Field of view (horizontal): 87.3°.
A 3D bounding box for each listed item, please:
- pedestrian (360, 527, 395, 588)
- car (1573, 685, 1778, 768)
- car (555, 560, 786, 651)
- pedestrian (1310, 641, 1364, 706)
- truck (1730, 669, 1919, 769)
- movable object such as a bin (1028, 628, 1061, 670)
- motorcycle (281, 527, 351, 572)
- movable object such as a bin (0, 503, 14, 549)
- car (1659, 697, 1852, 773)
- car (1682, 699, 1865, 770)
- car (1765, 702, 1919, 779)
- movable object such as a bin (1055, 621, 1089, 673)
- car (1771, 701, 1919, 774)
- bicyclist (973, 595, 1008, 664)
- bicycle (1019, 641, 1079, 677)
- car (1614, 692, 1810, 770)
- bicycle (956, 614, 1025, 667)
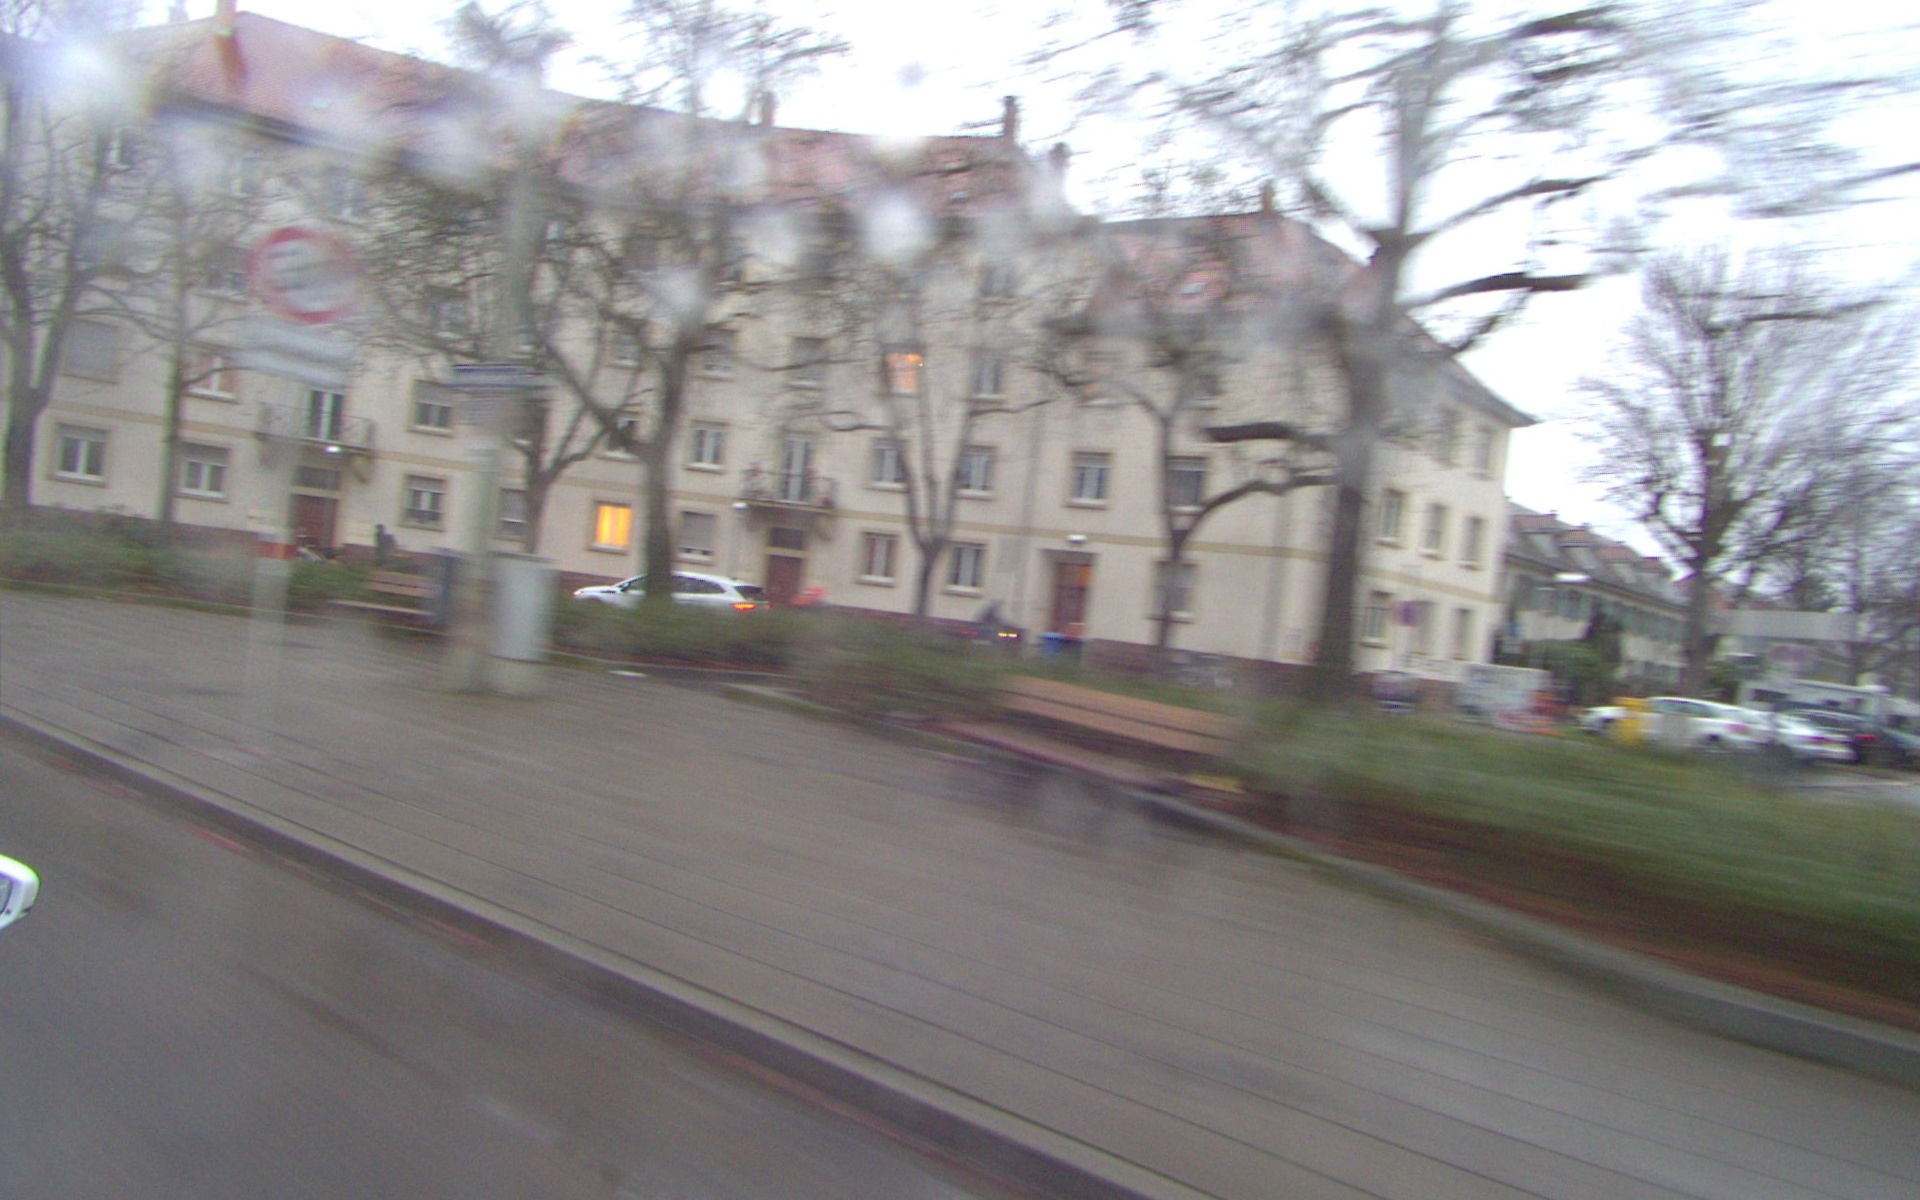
[{"bbox_3d":[-17.036,-1.247,29.430,0.706,1.681,0.683,6,1,-28],"label":"pedestrian"},{"bbox_3d":[19.102,3.357,27.030,1.832,1.504,3.967,7,0,-32],"label":"car"},{"bbox_3d":[-6.627,0.078,23.230,4.662,1.531,1.898,6,3,9],"label":"car"},{"bbox_3d":[10.377,2.026,27.679,1.113,1.663,0.752,6,1,-38],"label":"pedestrian"},{"bbox_3d":[36.264,4.873,41.400,2.614,3.131,6.656,6,0,-41],"label":"truck"},{"bbox_3d":[2.178,1.252,25.805,0.638,0.993,0.528,7,0,18],"label":"movable object such as a bin"},{"bbox_3d":[-18.930,-1.476,29.601,1.575,1.120,0.568,7,3,-6],"label":"motorcycle"},{"bbox_3d":[-24.441,-1.905,25.262,0.691,1.132,0.537,9,-2,-18],"label":"movable object such as a bin"},{"bbox_3d":[23.277,3.941,29.597,1.832,1.494,3.967,7,0,-32],"label":"car"},{"bbox_3d":[25.271,4.150,31.382,1.832,1.494,3.967,7,0,-32],"label":"car"},{"bbox_3d":[31.084,4.877,35.227,1.832,1.957,3.967,7,0,-32],"label":"car"},{"bbox_3d":[2.845,1.188,25.588,0.638,1.243,0.528,7,1,18],"label":"movable object such as a bin"},{"bbox_3d":[34.480,5.265,39.033,1.986,2.039,4.276,6,0,-42],"label":"car"},{"bbox_3d":[0.896,0.865,29.252,0.668,1.910,0.467,7,1,30],"label":"bicyclist"},{"bbox_3d":[2.439,1.610,27.553,1.561,0.775,0.339,7,0,27],"label":"bicycle"},{"bbox_3d":[21.224,3.666,28.551,1.832,1.494,3.967,7,0,-32],"label":"car"},{"bbox_3d":[0.882,1.174,29.246,1.882,1.307,0.467,7,1,30],"label":"bicycle"}]
